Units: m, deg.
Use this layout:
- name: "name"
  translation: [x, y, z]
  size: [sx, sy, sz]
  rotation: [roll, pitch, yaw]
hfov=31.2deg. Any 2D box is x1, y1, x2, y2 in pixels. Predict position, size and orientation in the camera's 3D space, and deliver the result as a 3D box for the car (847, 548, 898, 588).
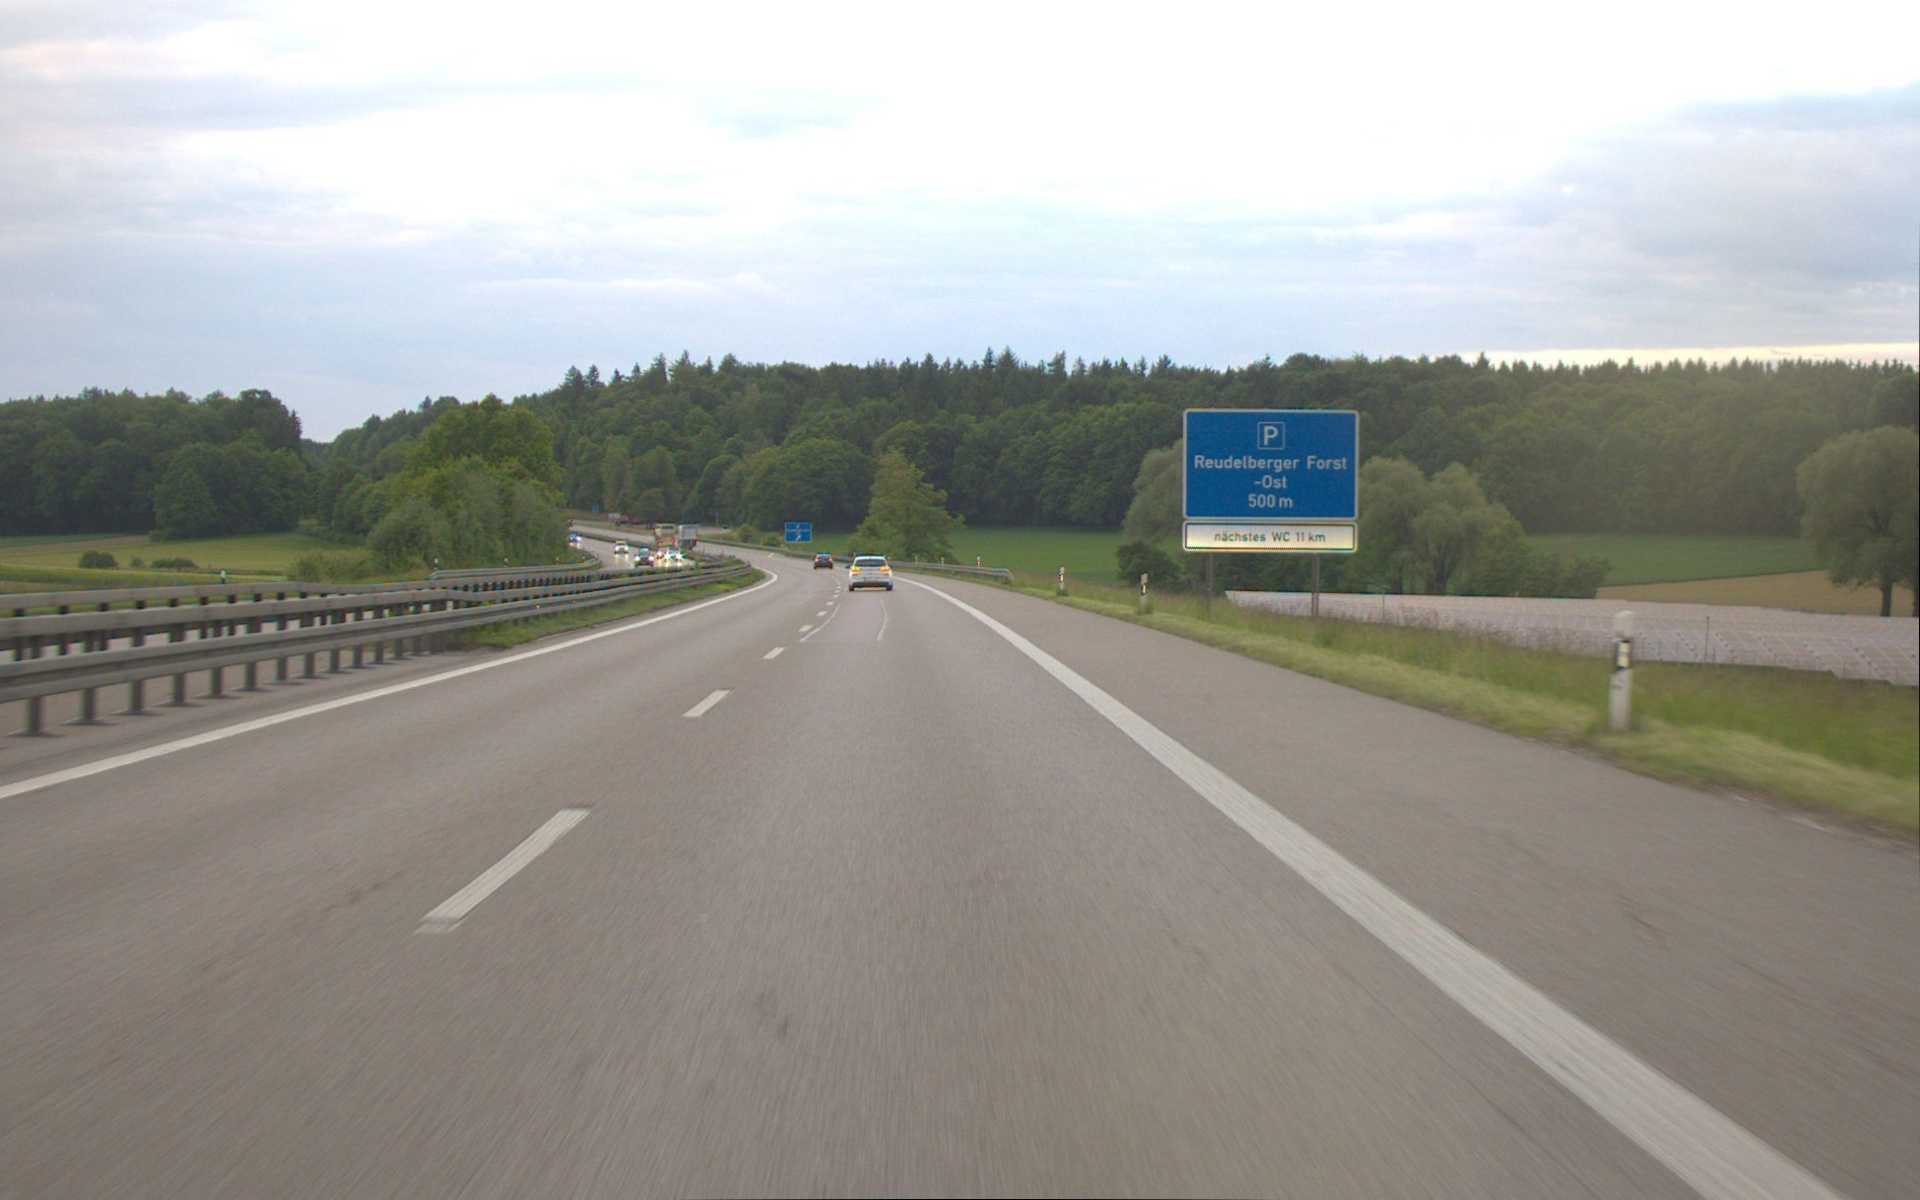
- name: "car"
  translation: [-3.643, -1.330, 142.777]
  size: [1.951, 1.526, 4.081]
  rotation: [2, 1, -3]
